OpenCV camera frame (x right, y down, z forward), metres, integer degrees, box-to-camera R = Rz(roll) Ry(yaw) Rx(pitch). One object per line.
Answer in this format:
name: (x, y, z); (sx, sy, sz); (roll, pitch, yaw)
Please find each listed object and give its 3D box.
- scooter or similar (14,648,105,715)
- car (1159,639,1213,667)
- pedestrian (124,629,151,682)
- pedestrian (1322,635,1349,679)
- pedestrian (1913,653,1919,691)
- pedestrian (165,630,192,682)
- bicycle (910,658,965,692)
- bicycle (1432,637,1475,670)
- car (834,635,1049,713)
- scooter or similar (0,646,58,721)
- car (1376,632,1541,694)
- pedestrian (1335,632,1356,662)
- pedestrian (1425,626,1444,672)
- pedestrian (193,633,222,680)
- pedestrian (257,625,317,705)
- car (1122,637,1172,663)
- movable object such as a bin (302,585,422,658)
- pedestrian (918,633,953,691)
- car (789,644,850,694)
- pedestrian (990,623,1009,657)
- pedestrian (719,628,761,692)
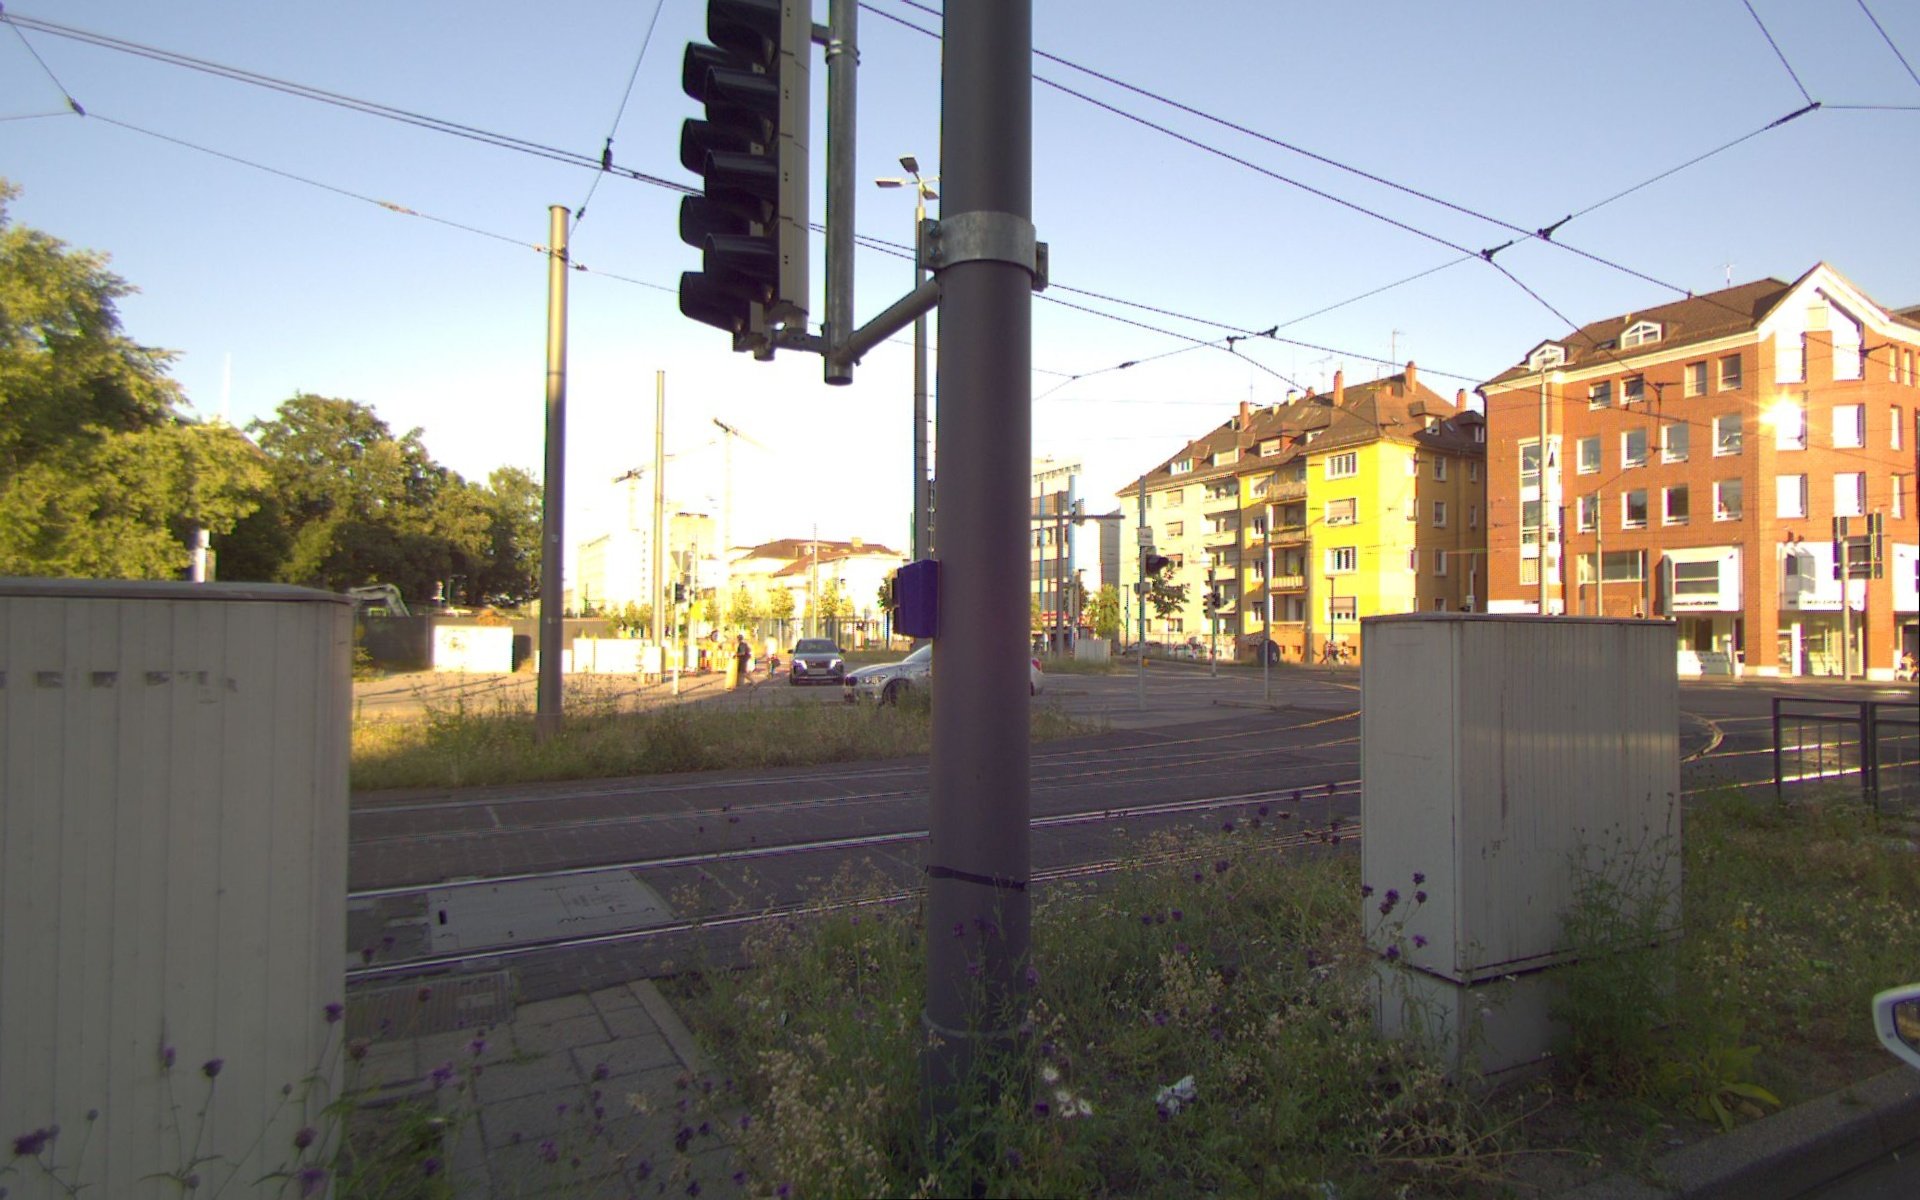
scooter or similar: (-18.150, 1.615, 20.274); (0.507, 1.288, 1.255); (-1, -2, 24)
car: (18.072, 4.182, 80.387); (1.978, 2.040, 3.966); (1, -1, -32)
pedestrian: (-26.575, 1.780, 32.443); (0.529, 1.680, 0.596); (-2, -3, 45)
pedestrian: (16.898, 2.550, 45.207); (0.924, 1.893, 0.839); (1, 0, 4)
pedestrian: (48.417, 3.634, 50.357); (0.665, 1.893, 0.634); (1, 0, 0)
pedestrian: (-25.295, 1.802, 32.515); (0.594, 1.680, 0.531); (1, -2, -34)
bicycle: (-0.789, 2.544, 34.482); (0.886, 1.074, 1.989); (1, -2, -36)
bicycle: (20.786, 2.222, 42.264); (1.992, 1.343, 0.615); (1, 0, -30)
car: (-0.366, 1.472, 20.763); (4.145, 1.467, 1.664); (1, -2, -25)
scooter or similar: (-18.969, 1.649, 20.124); (0.507, 1.465, 1.257); (0, -2, 11)
car: (13.955, 1.717, 28.079); (4.424, 1.606, 1.986); (1, -2, -29)
pedestrian: (24.765, 3.004, 64.604); (0.830, 1.893, 0.934); (1, 0, -35)
pedestrian: (20.091, 2.071, 42.516); (0.556, 1.893, 0.499); (1, 0, -31)
pedestrian: (-24.725, 1.858, 33.000); (0.617, 1.515, 0.637); (1, -2, -26)
pedestrian: (-16.147, 1.544, 24.131); (0.961, 1.892, 0.882); (1, -2, -18)
car: (15.628, 4.180, 84.216); (1.978, 2.040, 3.966); (1, -1, -32)
movable object such as a bin: (-27.677, 1.018, 46.626); (4.268, 3.271, 1.996); (1, -2, -12)
pedestrian: (-0.831, 2.118, 34.565); (0.887, 1.936, 0.837); (1, -2, -37)
car: (-5.093, 2.405, 36.062); (1.964, 1.639, 4.558); (0, -2, -10)
pedestrian: (2.220, 2.243, 56.454); (0.711, 1.892, 0.880); (-2, -3, 44)
pedestrian: (-6.873, 1.875, 31.457); (1.004, 1.970, 1.101); (0, -2, 5)
